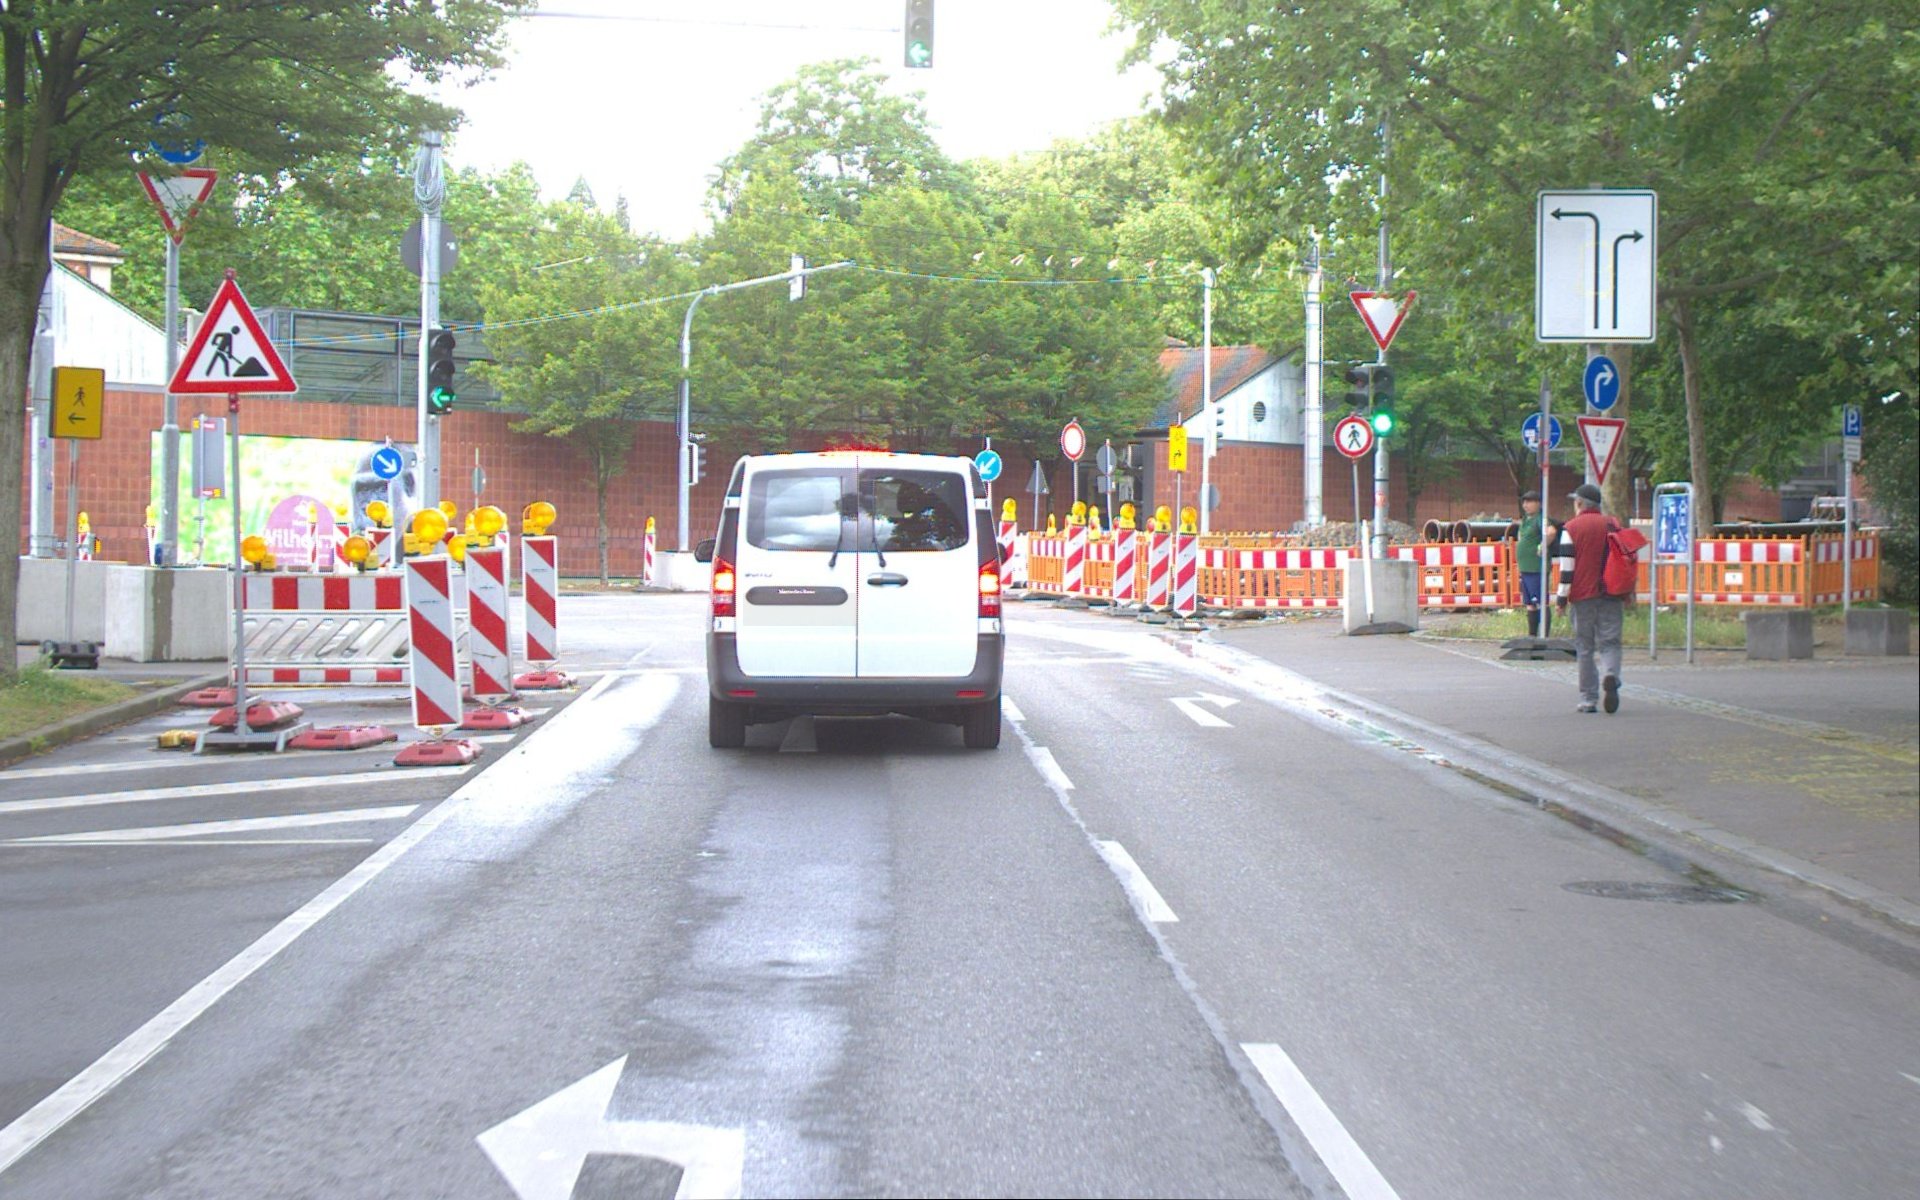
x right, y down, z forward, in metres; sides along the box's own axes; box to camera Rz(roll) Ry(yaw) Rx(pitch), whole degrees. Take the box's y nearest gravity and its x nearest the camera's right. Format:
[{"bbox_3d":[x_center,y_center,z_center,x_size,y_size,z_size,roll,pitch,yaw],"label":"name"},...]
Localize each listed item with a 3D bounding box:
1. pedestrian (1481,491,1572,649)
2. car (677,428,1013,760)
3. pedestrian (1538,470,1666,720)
[{"bbox_3d":[6.140,-0.335,37.292,0.730,1.691,0.838,-1,2,-10],"label":"pedestrian"},{"bbox_3d":[-0.758,0.002,23.222,1.917,1.895,4.701,4,-1,-1],"label":"car"},{"bbox_3d":[4.799,-0.046,25.735,0.779,1.825,0.728,-1,1,-1],"label":"pedestrian"}]
